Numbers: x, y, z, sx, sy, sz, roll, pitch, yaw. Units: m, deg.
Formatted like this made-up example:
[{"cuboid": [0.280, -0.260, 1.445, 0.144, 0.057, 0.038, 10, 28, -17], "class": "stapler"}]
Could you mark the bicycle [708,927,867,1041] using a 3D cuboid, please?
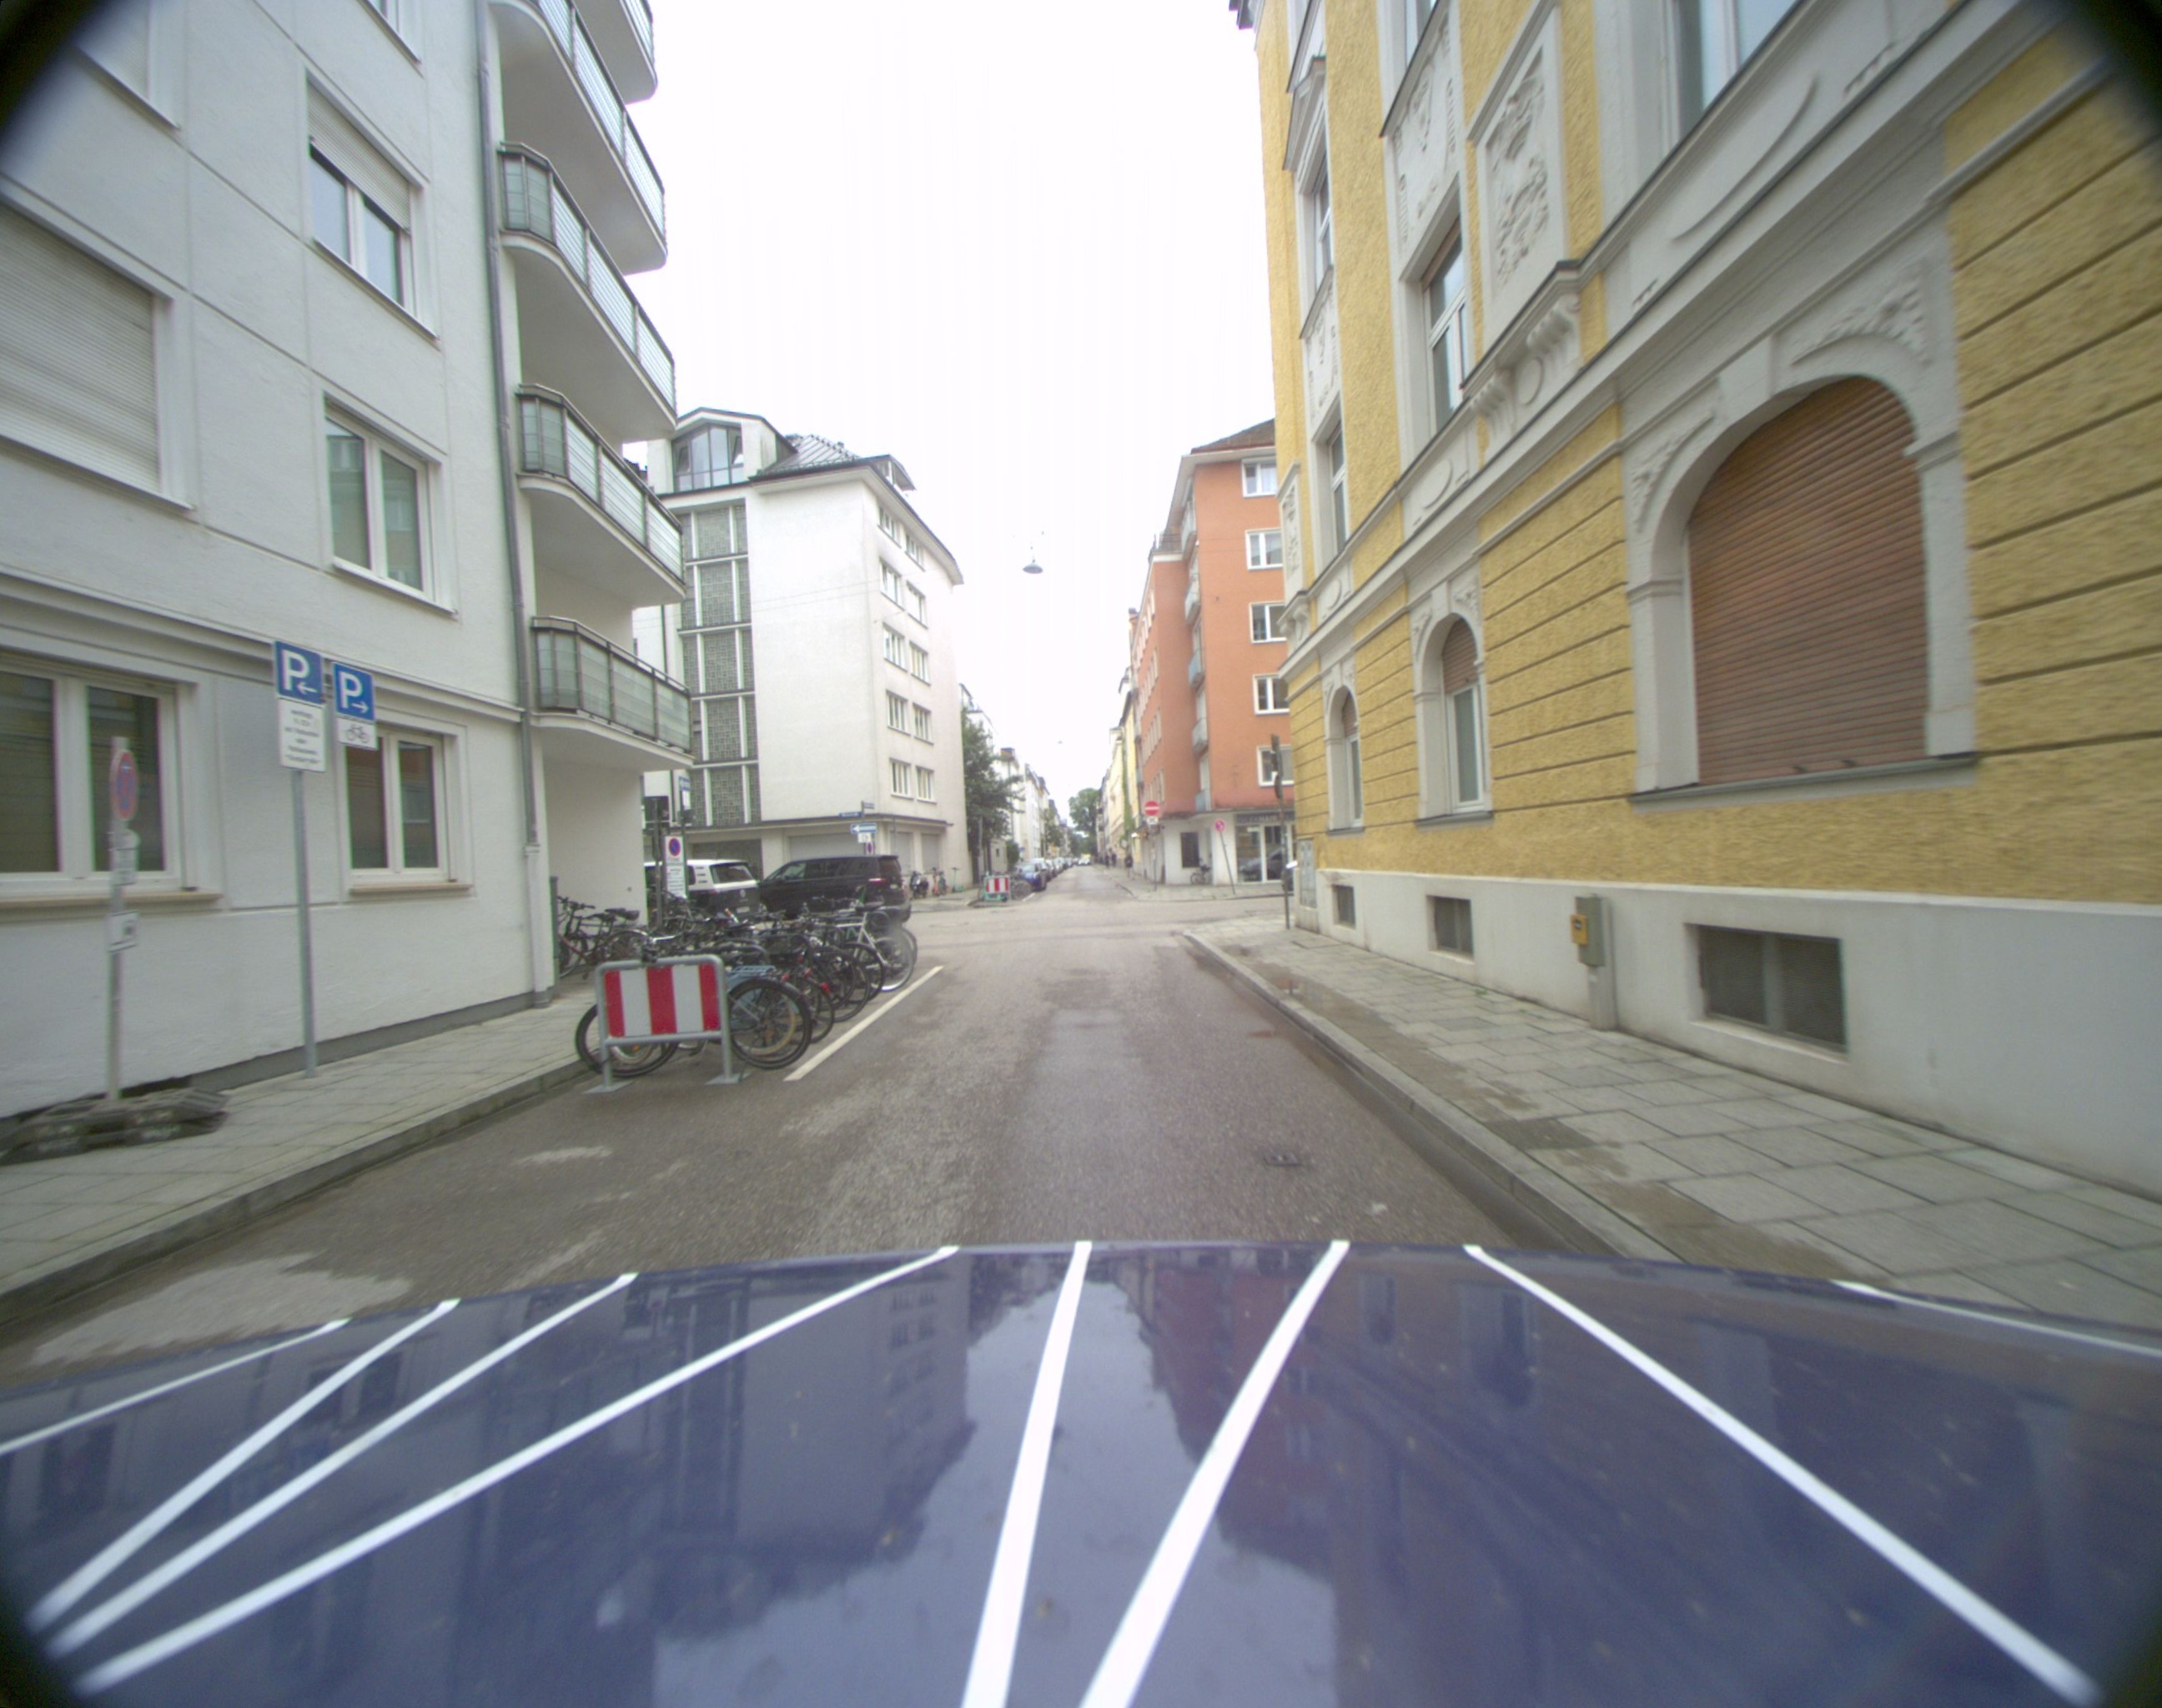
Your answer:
[{"cuboid": [-2.864, 1.247, 7.432, 1.441, 1.037, 0.360, -1, 1, 9], "class": "bicycle"}]

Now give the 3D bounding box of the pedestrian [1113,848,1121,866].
[{"cuboid": [3.648, 0.257, 76.736, 0.699, 1.783, 0.763, -3, 1, 1], "class": "pedestrian"}]

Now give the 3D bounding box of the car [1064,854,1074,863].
[{"cuboid": [-2.017, 0.750, 130.211, 1.654, 1.390, 4.000, -3, 0, 1], "class": "car"}]

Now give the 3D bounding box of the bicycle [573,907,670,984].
[{"cuboid": [-6.740, 1.330, 11.183, 1.129, 1.037, 0.398, -1, 1, -18], "class": "bicycle"}]

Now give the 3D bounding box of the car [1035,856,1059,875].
[{"cuboid": [-2.687, 0.927, 61.526, 1.654, 1.390, 4.000, -3, 0, 1], "class": "car"}]

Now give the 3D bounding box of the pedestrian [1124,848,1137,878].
[{"cuboid": [2.881, 0.515, 44.217, 0.613, 1.684, 0.566, -3, 1, 0], "class": "pedestrian"}]

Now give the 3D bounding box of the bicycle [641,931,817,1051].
[{"cuboid": [-3.276, 1.258, 7.097, 1.520, 1.037, 0.360, -1, 1, 8], "class": "bicycle"}]

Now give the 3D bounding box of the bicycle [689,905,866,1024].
[{"cuboid": [-3.256, 1.177, 8.216, 1.699, 1.154, 0.378, -3, 1, 0], "class": "bicycle"}]

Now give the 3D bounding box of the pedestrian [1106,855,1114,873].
[{"cuboid": [2.953, 1.004, 76.672, 0.726, 1.783, 0.830, -3, 1, 1], "class": "pedestrian"}]

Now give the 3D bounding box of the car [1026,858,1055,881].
[{"cuboid": [-2.704, 1.015, 51.888, 1.654, 1.390, 4.000, -3, 0, 1], "class": "car"}]

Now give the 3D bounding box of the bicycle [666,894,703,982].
[{"cuboid": [-6.154, 1.258, 11.825, 0.399, 1.197, 1.503, -1, 1, -24], "class": "bicycle"}]

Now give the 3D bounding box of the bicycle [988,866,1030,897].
[{"cuboid": [-2.934, 1.119, 31.207, 1.608, 1.207, 0.529, -3, 1, 3], "class": "bicycle"}]

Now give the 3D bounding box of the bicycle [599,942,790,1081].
[{"cuboid": [-3.140, 1.260, 6.183, 1.438, 1.037, 0.330, -1, 1, 9], "class": "bicycle"}]

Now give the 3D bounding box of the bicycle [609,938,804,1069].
[{"cuboid": [-3.222, 1.262, 6.546, 1.590, 1.037, 0.323, -1, 1, 9], "class": "bicycle"}]

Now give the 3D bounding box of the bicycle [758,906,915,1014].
[{"cuboid": [-2.904, 1.259, 9.102, 1.699, 1.154, 0.378, -3, 1, 0], "class": "bicycle"}]

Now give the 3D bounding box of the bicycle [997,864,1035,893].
[{"cuboid": [-2.920, 1.097, 34.187, 1.608, 1.207, 0.529, -3, 1, 3], "class": "bicycle"}]

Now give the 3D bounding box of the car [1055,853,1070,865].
[{"cuboid": [-2.336, 0.667, 95.574, 1.654, 1.390, 4.000, -3, 0, 1], "class": "car"}]

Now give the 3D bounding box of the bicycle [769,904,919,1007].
[{"cuboid": [-2.941, 1.258, 9.501, 1.699, 1.154, 0.378, -3, 1, 0], "class": "bicycle"}]

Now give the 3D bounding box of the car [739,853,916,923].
[{"cuboid": [-7.687, 1.026, 23.270, 4.676, 1.880, 1.935, -3, 0, 9], "class": "car"}]

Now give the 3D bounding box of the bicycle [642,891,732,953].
[{"cuboid": [-7.928, 1.357, 15.292, 1.607, 1.207, 0.472, -1, 1, 9], "class": "bicycle"}]

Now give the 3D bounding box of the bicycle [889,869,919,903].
[{"cuboid": [-6.783, 1.218, 29.220, 0.528, 1.207, 1.610, -3, 0, 8], "class": "bicycle"}]

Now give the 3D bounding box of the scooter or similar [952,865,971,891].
[{"cuboid": [-5.704, 1.147, 36.195, 0.406, 1.160, 1.494, -3, 0, 8], "class": "scooter or similar"}]

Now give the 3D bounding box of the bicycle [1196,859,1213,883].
[{"cuboid": [5.112, 0.692, 31.511, 0.471, 0.923, 1.513, -3, 0, 1], "class": "bicycle"}]

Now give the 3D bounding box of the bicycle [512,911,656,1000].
[{"cuboid": [-6.486, 1.309, 9.978, 1.502, 1.037, 0.398, -1, 1, -18], "class": "bicycle"}]

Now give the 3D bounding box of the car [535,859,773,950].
[{"cuboid": [-10.003, 1.155, 17.973, 4.615, 1.862, 1.935, -3, 0, 8], "class": "car"}]

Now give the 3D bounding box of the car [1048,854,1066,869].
[{"cuboid": [-2.507, 0.790, 80.104, 1.654, 1.390, 4.000, -3, 0, 1], "class": "car"}]

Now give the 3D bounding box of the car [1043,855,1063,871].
[{"cuboid": [-2.658, 0.883, 73.430, 1.654, 1.390, 4.000, -3, 0, 1], "class": "car"}]

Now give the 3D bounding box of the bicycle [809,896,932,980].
[{"cuboid": [-3.189, 1.267, 11.577, 1.699, 1.154, 0.418, -3, 1, 0], "class": "bicycle"}]

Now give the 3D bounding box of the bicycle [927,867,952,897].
[{"cuboid": [-6.156, 1.197, 33.143, 0.528, 1.207, 1.610, -3, 0, 8], "class": "bicycle"}]

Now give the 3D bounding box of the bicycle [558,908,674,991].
[{"cuboid": [-6.439, 1.306, 10.573, 1.296, 1.037, 0.398, -1, 1, -18], "class": "bicycle"}]

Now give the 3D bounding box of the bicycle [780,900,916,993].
[{"cuboid": [-3.191, 1.269, 10.474, 1.699, 1.154, 0.378, -3, 1, 0], "class": "bicycle"}]

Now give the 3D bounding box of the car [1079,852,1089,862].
[{"cuboid": [0.577, 0.697, 162.482, 1.998, 2.002, 4.646, -3, 0, 0], "class": "car"}]

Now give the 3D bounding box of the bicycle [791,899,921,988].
[{"cuboid": [-3.196, 1.273, 10.842, 1.699, 1.154, 0.313, -3, 1, -1], "class": "bicycle"}]

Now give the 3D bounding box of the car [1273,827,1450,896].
[{"cuboid": [8.539, 0.285, 23.481, 4.678, 1.835, 1.935, -3, -3, 4], "class": "car"}]

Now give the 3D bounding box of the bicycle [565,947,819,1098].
[{"cuboid": [-2.895, 1.254, 5.715, 1.707, 1.037, 0.360, -1, 1, 1], "class": "bicycle"}]

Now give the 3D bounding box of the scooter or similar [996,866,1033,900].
[{"cuboid": [-2.559, 1.116, 29.207, 1.340, 1.207, 0.344, -3, 1, 3], "class": "scooter or similar"}]

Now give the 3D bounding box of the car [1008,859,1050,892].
[{"cuboid": [-2.467, 0.998, 37.030, 1.654, 1.390, 4.000, -3, 0, 1], "class": "car"}]

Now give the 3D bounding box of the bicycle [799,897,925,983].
[{"cuboid": [-3.203, 1.252, 11.171, 1.699, 1.154, 0.313, -3, 1, -1], "class": "bicycle"}]

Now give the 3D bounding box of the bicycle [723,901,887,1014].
[{"cuboid": [-3.109, 1.163, 8.627, 1.666, 1.154, 0.378, -3, 1, 0], "class": "bicycle"}]

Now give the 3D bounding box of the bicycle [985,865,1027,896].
[{"cuboid": [-3.133, 1.123, 31.771, 1.608, 1.207, 0.529, -3, 1, 3], "class": "bicycle"}]

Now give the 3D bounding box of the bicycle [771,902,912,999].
[{"cuboid": [-3.156, 1.270, 10.076, 1.699, 1.154, 0.378, -3, 1, 0], "class": "bicycle"}]

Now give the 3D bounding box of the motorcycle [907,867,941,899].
[{"cuboid": [-6.408, 1.162, 31.077, 0.660, 1.225, 1.937, -3, 0, 8], "class": "motorcycle"}]

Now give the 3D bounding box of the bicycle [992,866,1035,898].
[{"cuboid": [-2.705, 1.113, 30.634, 1.608, 1.207, 0.529, -3, 1, 3], "class": "bicycle"}]

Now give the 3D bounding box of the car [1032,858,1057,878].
[{"cuboid": [-2.710, 1.023, 57.154, 1.653, 1.390, 4.000, -1, 0, 1], "class": "car"}]
